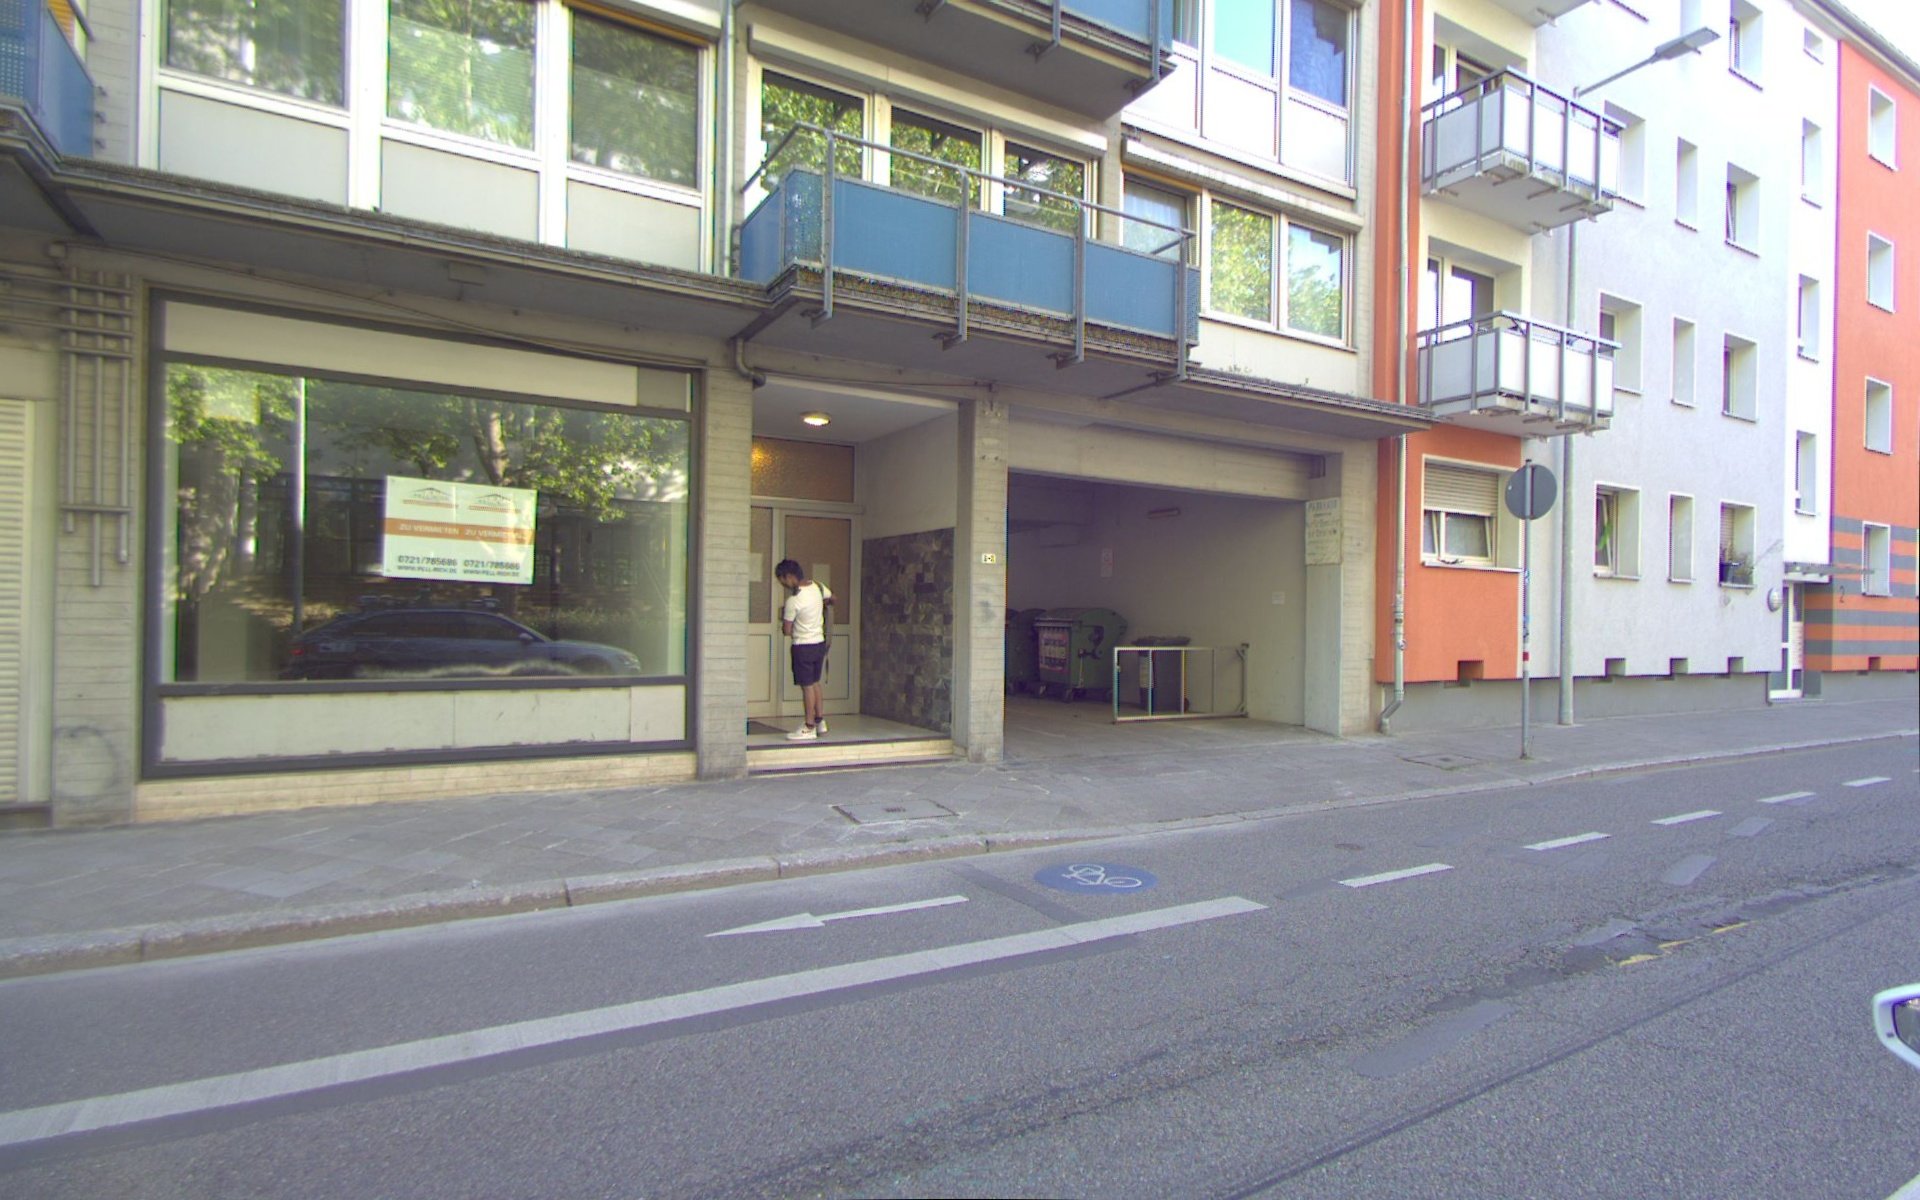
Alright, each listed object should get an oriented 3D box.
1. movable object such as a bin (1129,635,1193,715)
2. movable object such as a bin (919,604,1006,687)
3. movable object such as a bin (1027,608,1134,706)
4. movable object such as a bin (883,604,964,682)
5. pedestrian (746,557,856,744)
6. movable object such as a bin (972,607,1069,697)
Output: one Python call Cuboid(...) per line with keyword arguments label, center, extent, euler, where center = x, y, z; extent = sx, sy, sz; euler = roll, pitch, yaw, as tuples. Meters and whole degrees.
Cuboid(label="movable object such as a bin", center=(2.896, 1.072, 14.495), extent=(0.713, 1.094, 0.533), euler=(2, 0, -29))
Cuboid(label="movable object such as a bin", center=(0.037, 0.828, 18.704), extent=(1.120, 1.444, 1.268), euler=(2, 0, -28))
Cuboid(label="movable object such as a bin", center=(1.884, 0.872, 15.819), extent=(1.120, 1.444, 1.268), euler=(2, 0, -28))
Cuboid(label="movable object such as a bin", center=(-0.734, 0.831, 19.795), extent=(1.120, 1.444, 1.268), euler=(2, 0, -28))
Cuboid(label="pedestrian", center=(-1.463, 0.453, 9.361), extent=(0.820, 1.639, 0.794), euler=(2, 0, 3))
Cuboid(label="movable object such as a bin", center=(1.016, 0.864, 17.160), extent=(1.120, 1.444, 1.268), euler=(2, 0, -28))
